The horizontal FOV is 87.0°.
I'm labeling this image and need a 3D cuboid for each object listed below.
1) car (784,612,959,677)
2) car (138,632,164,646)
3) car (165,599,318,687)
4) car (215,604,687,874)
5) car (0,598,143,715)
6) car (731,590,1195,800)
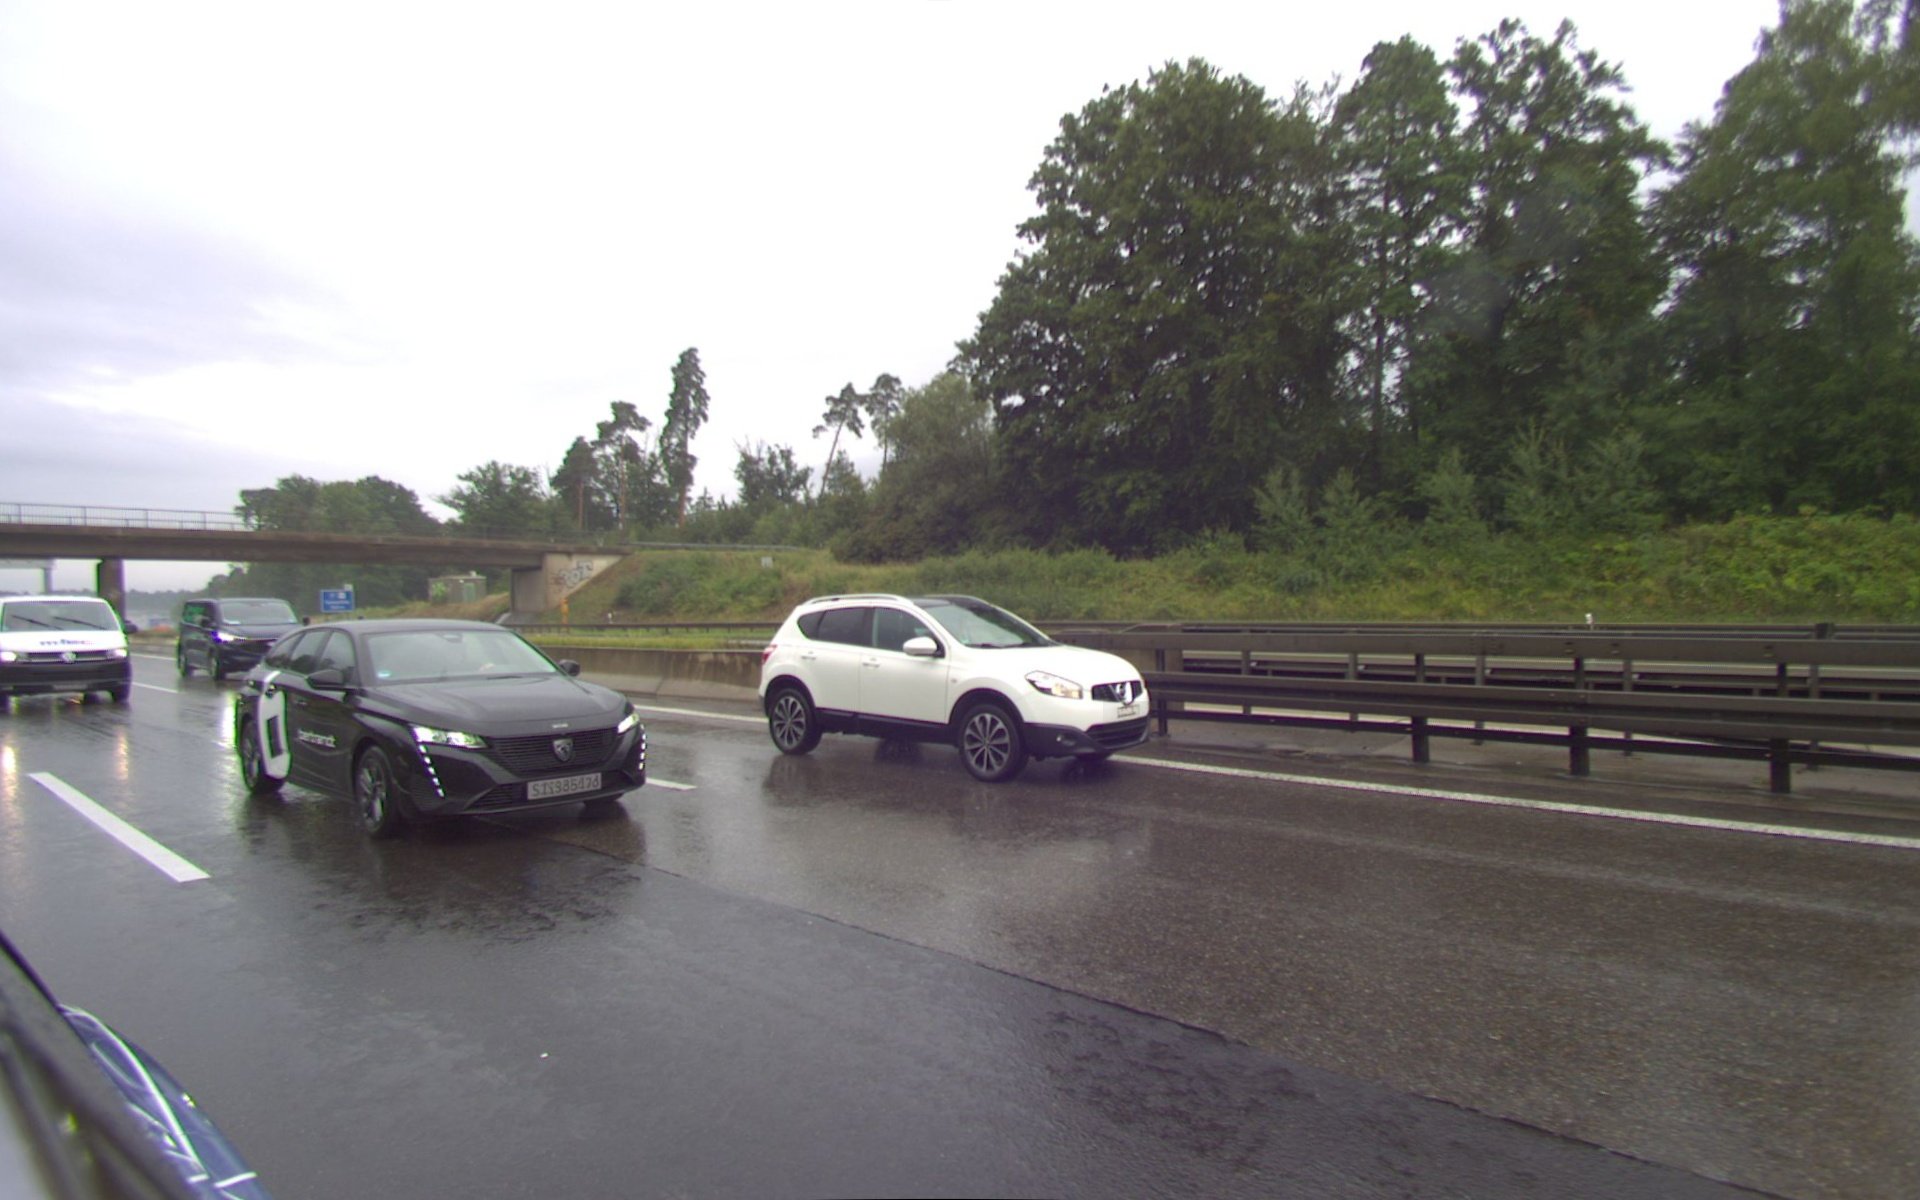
[{"bbox_3d":[-2.379,1.114,26.324,4.605,1.509,1.817,-2,-1,40],"label":"car"},{"bbox_3d":[-96.450,4.606,120.596,3.943,1.603,1.826,-2,-1,42],"label":"car"},{"bbox_3d":[-18.006,0.995,25.247,5.240,1.958,1.970,-1,0,41],"label":"car"},{"bbox_3d":[-4.192,0.838,7.952,4.465,1.516,1.826,-2,-1,42],"label":"car"},{"bbox_3d":[-16.725,0.957,18.575,4.766,1.894,1.969,-2,-1,42],"label":"car"},{"bbox_3d":[-0.161,0.765,9.913,4.465,1.603,1.826,-2,-1,42],"label":"car"}]
